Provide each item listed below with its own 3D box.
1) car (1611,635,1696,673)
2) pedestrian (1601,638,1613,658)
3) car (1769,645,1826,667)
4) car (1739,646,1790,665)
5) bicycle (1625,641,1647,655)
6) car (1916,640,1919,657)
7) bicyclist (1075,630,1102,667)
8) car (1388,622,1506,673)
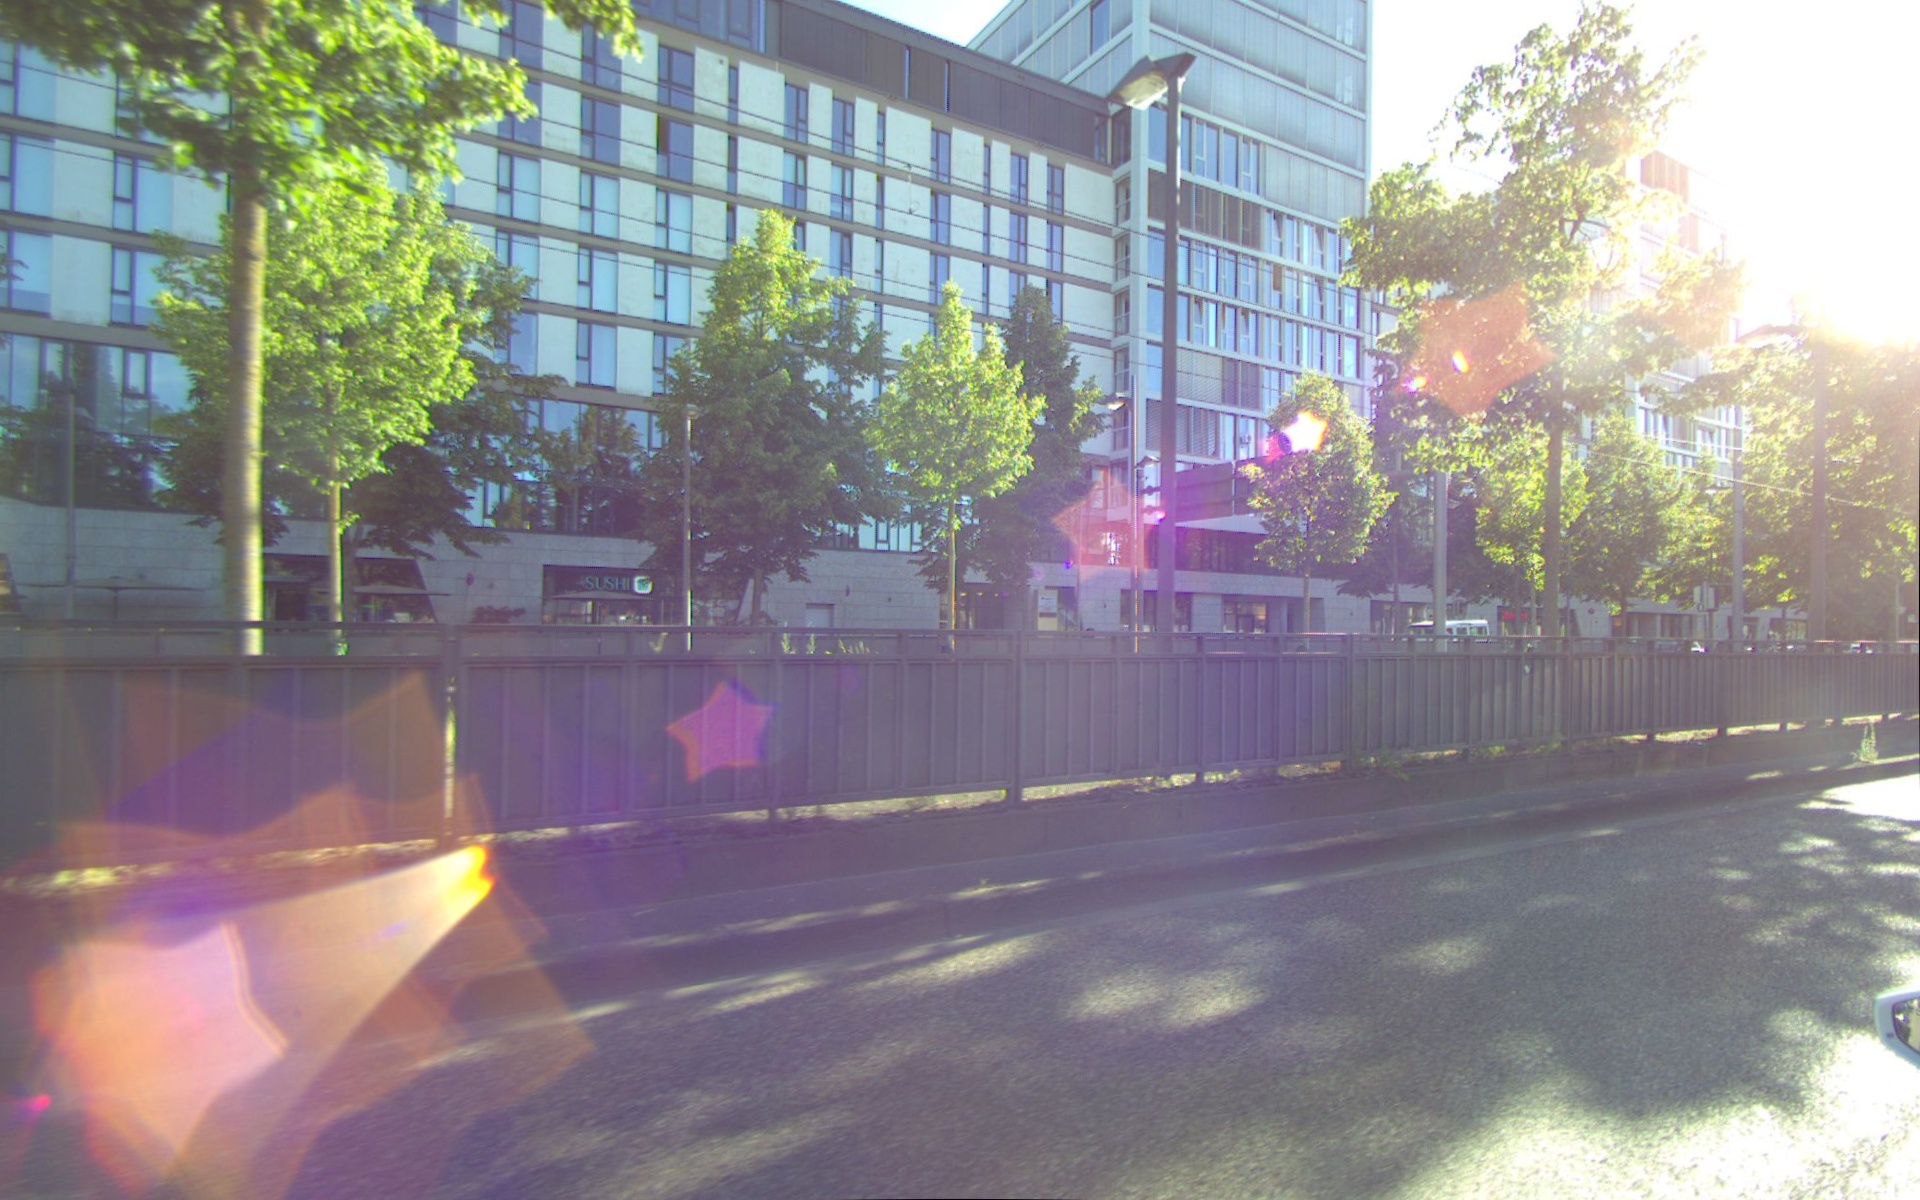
[{"bbox_3d":[30.144,2.334,43.645,3.658,1.540,1.670,2,-2,-31],"label":"car"},{"bbox_3d":[45.637,3.381,70.855,0.682,1.431,0.405,3,-2,-31],"label":"pedestrian"},{"bbox_3d":[60.033,3.999,71.982,4.750,1.438,1.659,2,-2,-31],"label":"car"},{"bbox_3d":[55.158,3.806,68.856,3.543,1.223,1.659,2,-2,-32],"label":"car"},{"bbox_3d":[49.937,3.563,74.207,1.960,0.985,0.538,4,-2,-31],"label":"bicycle"},{"bbox_3d":[83.815,4.188,85.960,4.492,1.439,1.707,2,-2,-30],"label":"car"},{"bbox_3d":[5.302,2.012,41.543,0.821,1.483,0.717,1,-1,-28],"label":"bicyclist"},{"bbox_3d":[17.972,1.757,37.066,4.179,1.773,1.984,2,-2,-31],"label":"car"}]
